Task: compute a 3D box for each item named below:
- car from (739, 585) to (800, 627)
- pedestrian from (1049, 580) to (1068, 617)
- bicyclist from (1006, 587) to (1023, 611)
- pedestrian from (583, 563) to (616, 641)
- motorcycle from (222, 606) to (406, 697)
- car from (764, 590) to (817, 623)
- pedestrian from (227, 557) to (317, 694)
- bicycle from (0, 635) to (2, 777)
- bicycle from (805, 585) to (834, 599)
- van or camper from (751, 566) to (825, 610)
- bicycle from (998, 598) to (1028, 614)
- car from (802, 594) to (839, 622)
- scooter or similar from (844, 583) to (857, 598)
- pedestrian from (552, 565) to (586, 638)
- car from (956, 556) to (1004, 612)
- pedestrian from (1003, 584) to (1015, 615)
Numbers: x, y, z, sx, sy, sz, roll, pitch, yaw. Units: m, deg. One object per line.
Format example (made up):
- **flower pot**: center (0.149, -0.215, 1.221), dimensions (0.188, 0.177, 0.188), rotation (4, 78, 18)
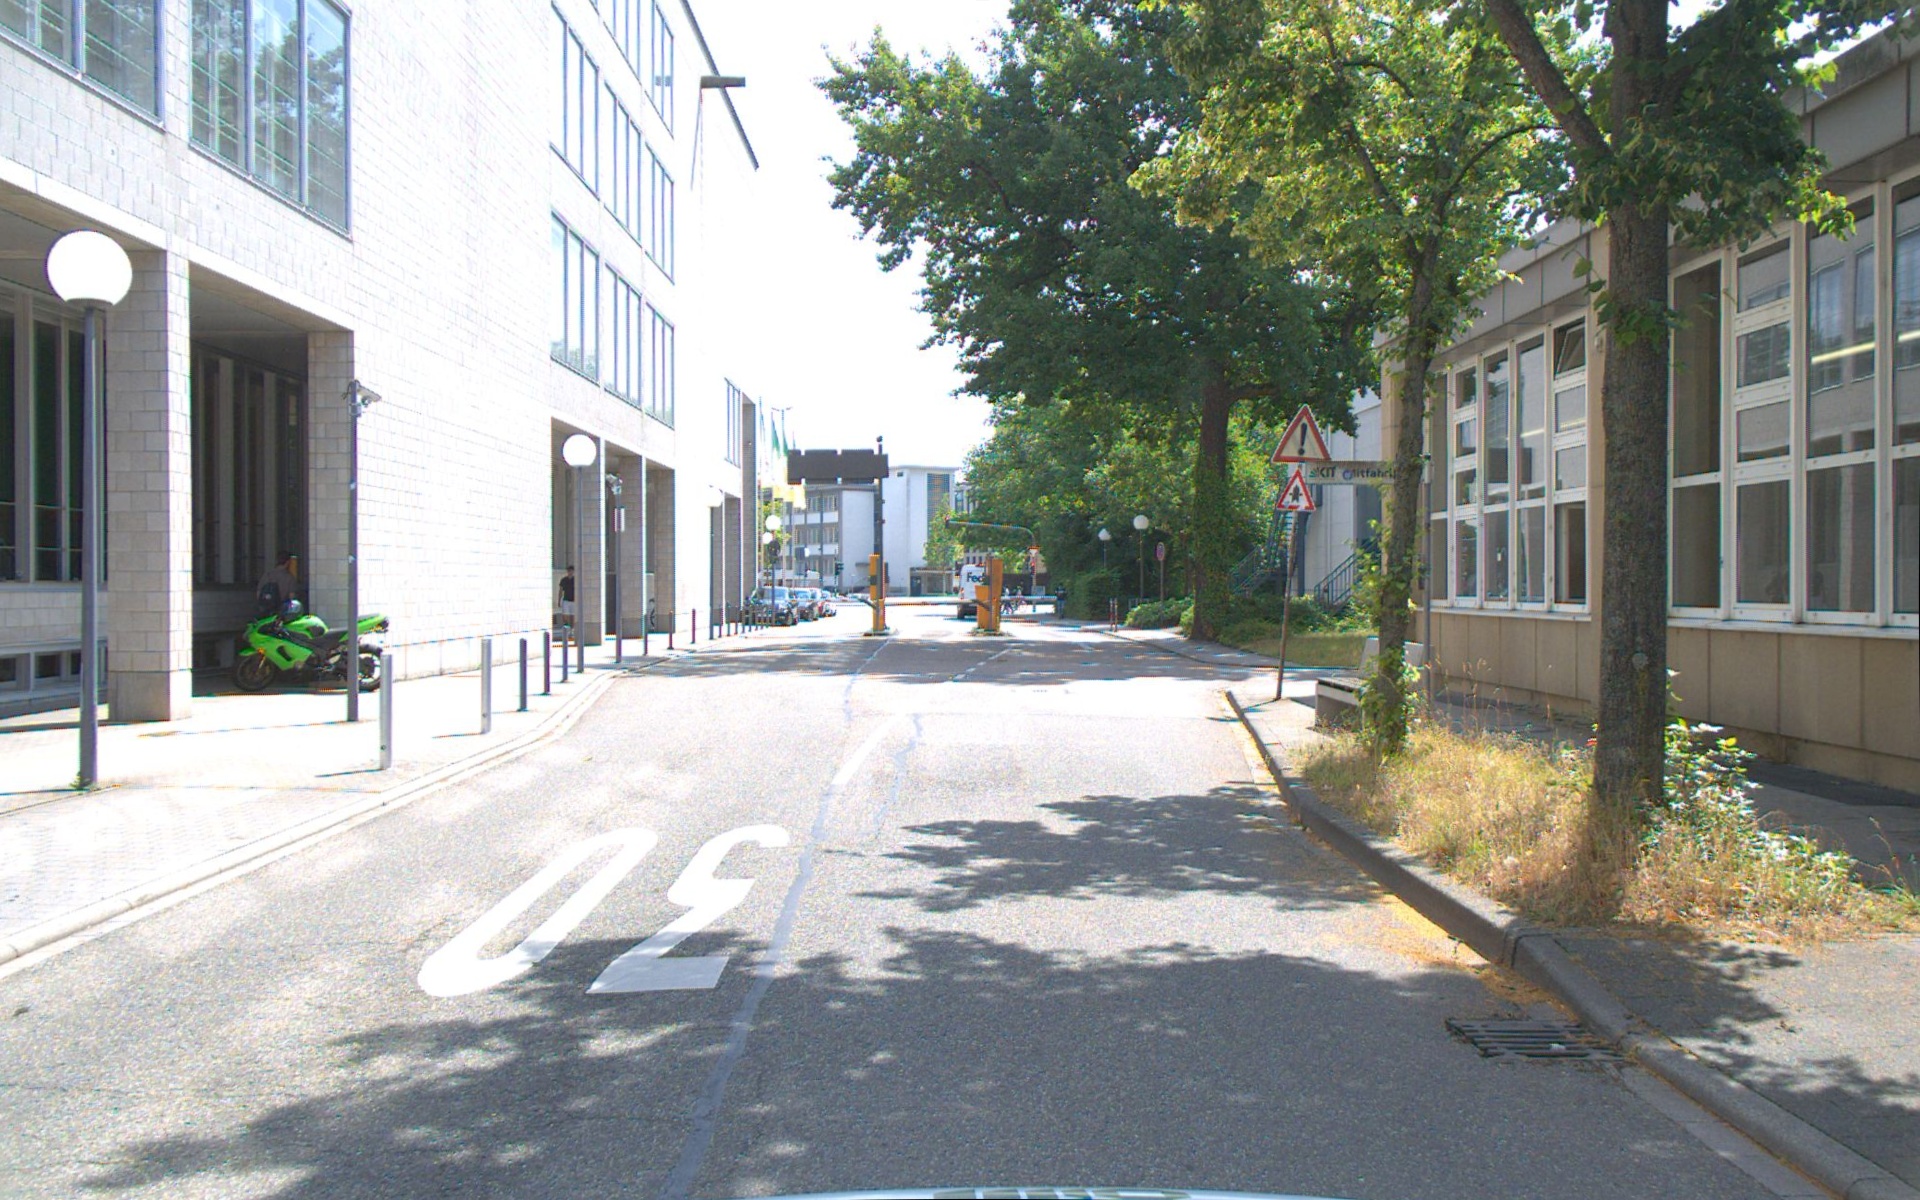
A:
- **car**: center (-7.209, 0.203, 62.984), dimensions (1.822, 1.493, 4.718), rotation (1, 0, -1)
- **pedestrian**: center (4.579, -0.092, 76.997), dimensions (0.725, 1.704, 1.255), rotation (-1, 0, -4)
- **bicyclist**: center (3.513, -0.071, 106.857), dimensions (0.886, 1.521, 0.654), rotation (0, 0, -41)
- **pedestrian**: center (-9.620, 0.053, 44.158), dimensions (0.684, 2.049, 0.830), rotation (0, 0, -1)
- **motorcycle**: center (-8.451, 0.668, 21.720), dimensions (2.127, 1.158, 0.773), rotation (1, 0, -11)
- **car**: center (-7.638, 0.264, 75.008), dimensions (1.821, 1.402, 5.016), rotation (2, 0, 0)
- **pedestrian**: center (-9.544, 0.340, 22.966), dimensions (0.786, 1.836, 0.924), rotation (-2, 1, -1)
- **bicycle**: center (-8.270, 0.828, 12.561), dimensions (1.607, 1.105, 0.607), rotation (0, 0, -7)
- **bicycle**: center (-14.320, -0.792, 168.672), dimensions (2.936, 1.387, 1.102), rotation (0, 0, -39)
- **van or camper**: center (-13.427, -0.946, 129.339), dimensions (5.598, 3.316, 2.354), rotation (-1, 0, -4)
- **bicycle**: center (3.436, 0.358, 106.796), dimensions (2.088, 1.013, 0.669), rotation (0, 0, -41)
- **car**: center (-7.630, 0.398, 90.896), dimensions (1.642, 1.419, 4.662), rotation (2, 0, 0)
- **scooter or similar**: center (-9.021, -0.770, 136.040), dimensions (0.704, 1.199, 2.717), rotation (-1, 0, -11)
- **pedestrian**: center (-10.427, 0.032, 44.118), dimensions (0.716, 1.913, 0.719), rotation (0, 0, -1)
- **car**: center (0.920, -0.790, 80.018), dimensions (2.053, 2.611, 5.601), rotation (-1, 1, -1)
- **pedestrian**: center (3.082, -0.021, 103.549), dimensions (0.751, 1.891, 0.722), rotation (-1, 0, 1)
